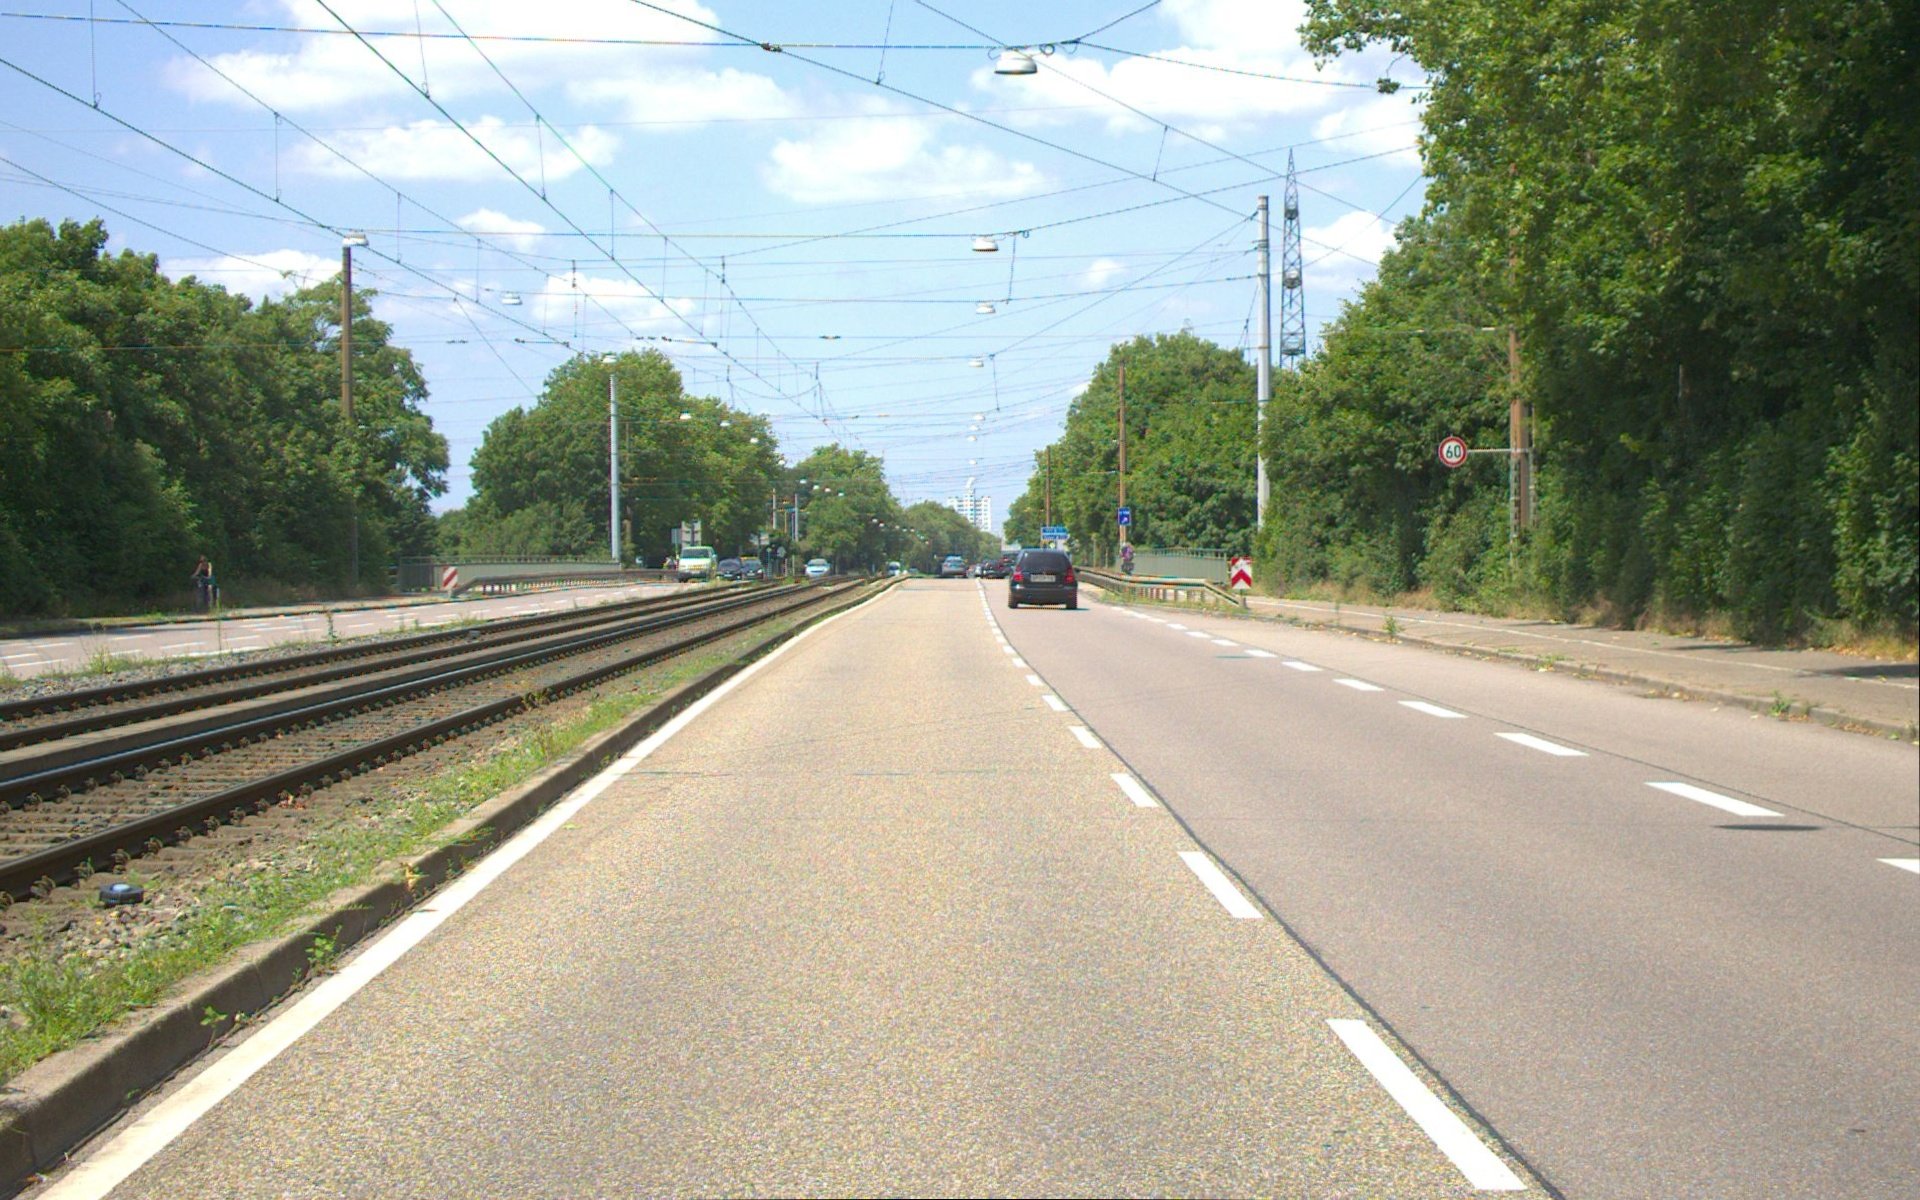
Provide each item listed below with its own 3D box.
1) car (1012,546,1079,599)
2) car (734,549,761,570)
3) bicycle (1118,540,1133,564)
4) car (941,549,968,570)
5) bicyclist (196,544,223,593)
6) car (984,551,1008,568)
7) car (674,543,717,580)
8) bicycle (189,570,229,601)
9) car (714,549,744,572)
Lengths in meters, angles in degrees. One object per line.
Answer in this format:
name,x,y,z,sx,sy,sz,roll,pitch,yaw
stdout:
car,2.222,-0.728,90.318,1.586,1.338,3.272,-1,1,-1
car,-14.523,-2.778,235.365,1.574,1.395,3.938,-1,1,0
bicycle,7.225,-2.105,150.306,0.559,1.021,1.848,-1,0,0
car,-0.415,-3.006,256.853,1.993,1.525,4.000,1,1,0
bicyclist,-21.087,-0.888,96.597,0.569,1.363,0.631,1,0,2
car,2.250,-2.559,215.323,1.431,1.026,3.371,1,1,0
car,-14.188,-2.056,184.487,1.811,1.918,5.179,-1,1,1
bicycle,-21.097,-0.410,96.607,0.586,0.816,2.068,-1,1,2
car,-14.413,-2.455,214.425,1.563,1.343,3.929,-1,1,1
